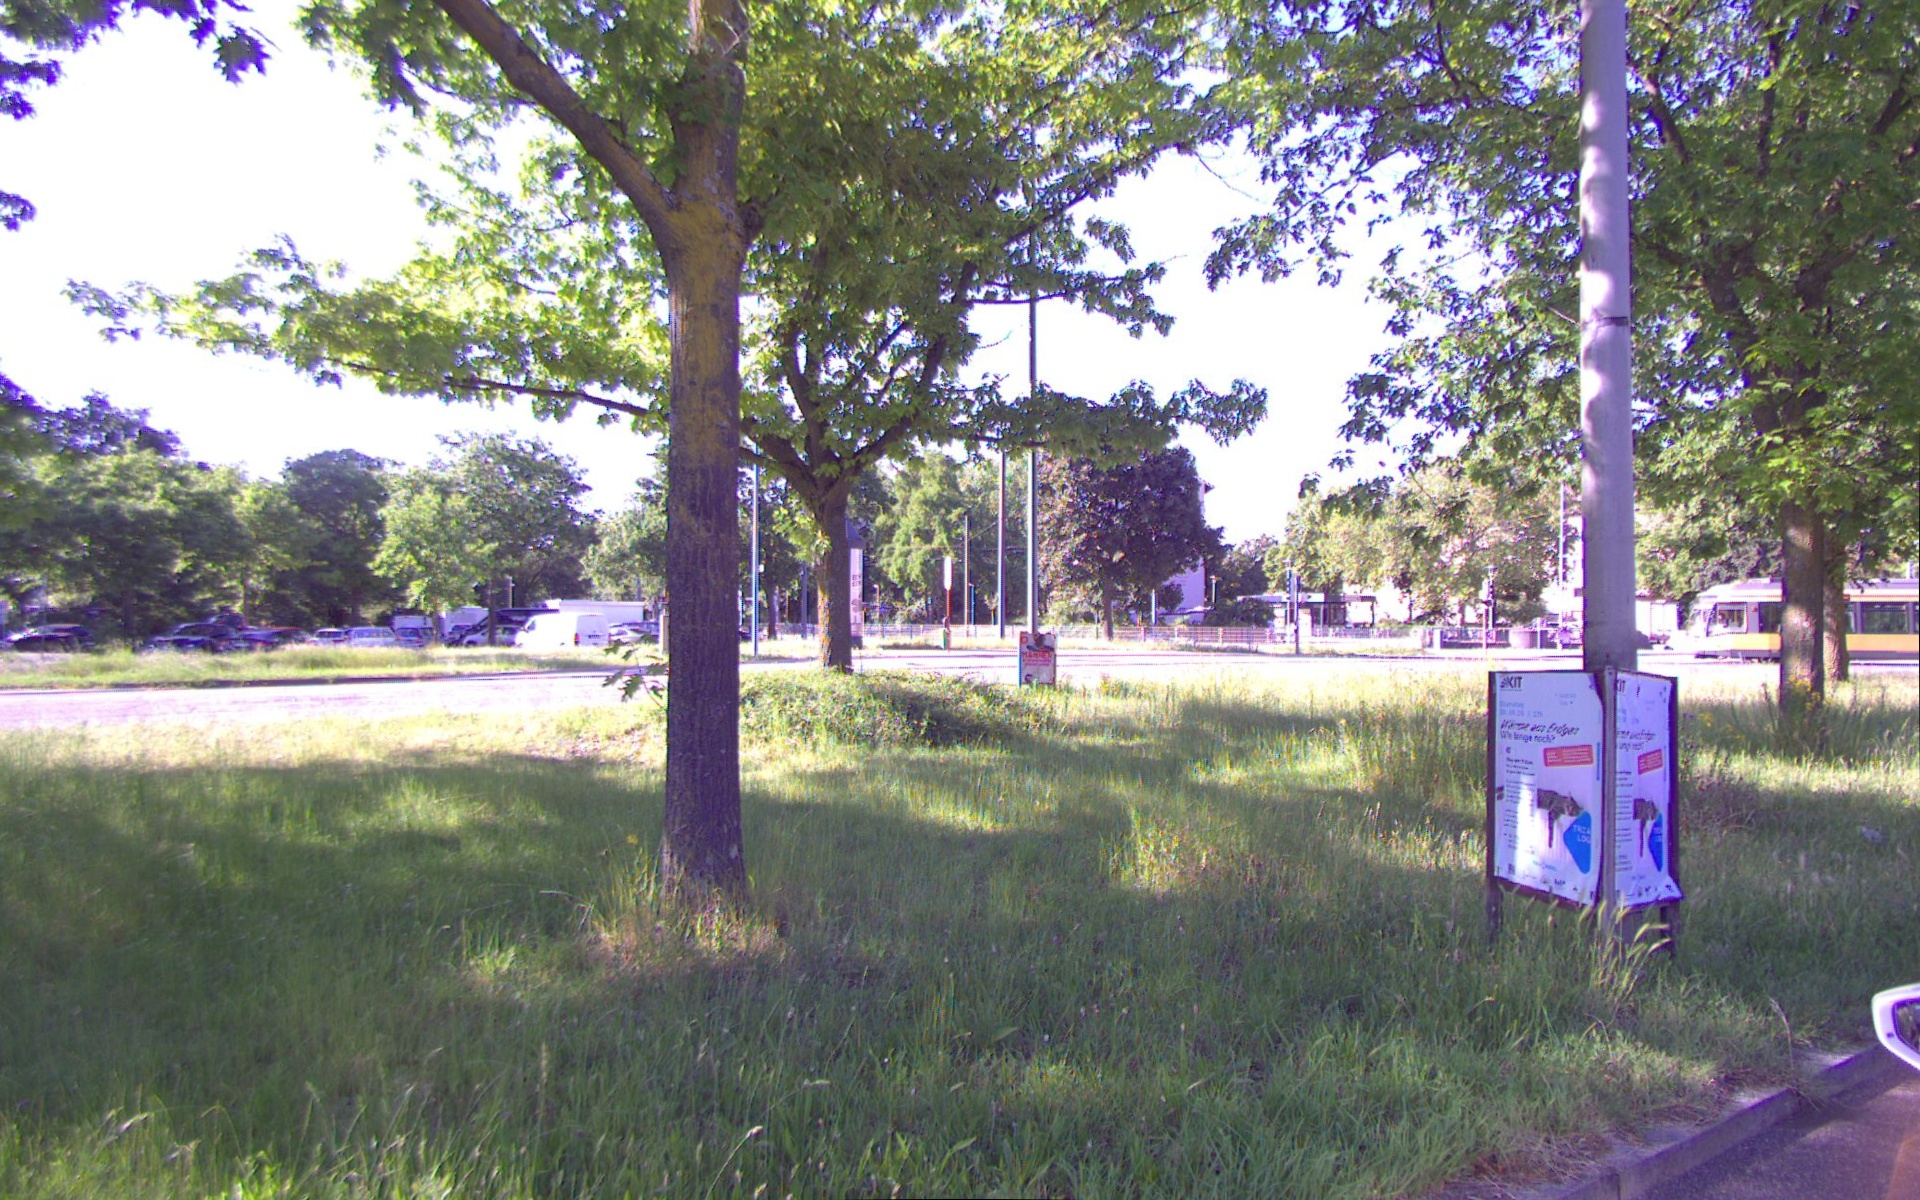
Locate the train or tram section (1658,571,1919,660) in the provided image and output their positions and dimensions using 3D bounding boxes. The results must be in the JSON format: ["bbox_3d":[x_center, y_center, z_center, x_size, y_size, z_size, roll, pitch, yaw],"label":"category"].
[{"bbox_3d":[40.090,0.643,41.149,18.990,3.559,3.308,0,-1,13],"label":"train or tram section"}]

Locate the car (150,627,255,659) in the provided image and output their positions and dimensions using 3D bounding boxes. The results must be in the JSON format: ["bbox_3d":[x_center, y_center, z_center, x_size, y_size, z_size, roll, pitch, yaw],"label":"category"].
[{"bbox_3d":[-26.840,1.497,35.633,1.315,1.078,2.777,0,-1,42],"label":"car"}]

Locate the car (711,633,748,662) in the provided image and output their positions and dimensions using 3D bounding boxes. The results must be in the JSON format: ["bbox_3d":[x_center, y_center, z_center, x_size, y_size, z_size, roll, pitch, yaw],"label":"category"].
[{"bbox_3d":[-12.027,2.448,52.491,1.589,1.438,3.073,0,-1,-8],"label":"car"}]

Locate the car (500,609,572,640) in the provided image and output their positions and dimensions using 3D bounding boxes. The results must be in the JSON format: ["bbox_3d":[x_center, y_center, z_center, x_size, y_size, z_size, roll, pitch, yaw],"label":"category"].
[{"bbox_3d":[-24.126,1.406,57.294,3.698,1.691,1.883,1,-1,-23],"label":"car"}]

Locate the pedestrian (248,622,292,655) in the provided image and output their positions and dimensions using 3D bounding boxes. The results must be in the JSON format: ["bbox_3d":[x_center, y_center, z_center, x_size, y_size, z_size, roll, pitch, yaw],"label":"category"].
[{"bbox_3d":[-27.873,1.560,40.582,1.130,1.292,1.105,0,-1,33],"label":"pedestrian"}]

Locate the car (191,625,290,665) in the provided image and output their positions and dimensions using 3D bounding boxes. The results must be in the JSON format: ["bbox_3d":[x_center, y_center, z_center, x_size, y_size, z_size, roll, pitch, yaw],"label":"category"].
[{"bbox_3d":[-25.230,1.556,35.248,2.769,1.323,1.326,1,-1,-40],"label":"car"}]

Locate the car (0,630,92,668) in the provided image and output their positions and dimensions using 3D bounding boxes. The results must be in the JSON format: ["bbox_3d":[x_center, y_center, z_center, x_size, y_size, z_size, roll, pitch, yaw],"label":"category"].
[{"bbox_3d":[-47.697,2.486,51.869,1.966,1.817,3.990,0,-1,32],"label":"car"}]

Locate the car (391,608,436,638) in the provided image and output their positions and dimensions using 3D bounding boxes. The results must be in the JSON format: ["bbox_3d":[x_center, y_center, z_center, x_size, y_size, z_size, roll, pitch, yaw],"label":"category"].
[{"bbox_3d":[-32.485,1.357,59.791,1.865,1.691,3.733,1,-1,-22],"label":"car"}]

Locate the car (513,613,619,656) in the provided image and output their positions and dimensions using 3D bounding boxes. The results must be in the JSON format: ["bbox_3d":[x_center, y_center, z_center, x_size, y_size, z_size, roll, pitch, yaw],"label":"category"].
[{"bbox_3d":[-17.215,1.468,43.805,4.670,1.762,2.024,0,-1,34],"label":"car"}]

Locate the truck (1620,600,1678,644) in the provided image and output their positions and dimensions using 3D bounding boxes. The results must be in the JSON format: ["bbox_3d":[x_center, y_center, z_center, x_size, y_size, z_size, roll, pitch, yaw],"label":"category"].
[{"bbox_3d":[46.645,1.477,68.091,1.960,2.842,4.002,0,-1,15],"label":"truck"}]

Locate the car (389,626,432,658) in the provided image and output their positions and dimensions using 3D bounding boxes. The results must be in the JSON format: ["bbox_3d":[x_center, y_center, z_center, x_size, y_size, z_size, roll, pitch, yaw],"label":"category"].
[{"bbox_3d":[-26.698,2.021,48.783,1.602,1.438,3.050,1,-1,-33],"label":"car"}]

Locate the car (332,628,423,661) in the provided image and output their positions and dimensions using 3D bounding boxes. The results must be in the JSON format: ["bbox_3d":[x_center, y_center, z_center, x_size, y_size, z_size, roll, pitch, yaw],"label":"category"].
[{"bbox_3d":[-21.823,1.627,37.638,2.769,1.171,1.326,1,-1,-40],"label":"car"}]

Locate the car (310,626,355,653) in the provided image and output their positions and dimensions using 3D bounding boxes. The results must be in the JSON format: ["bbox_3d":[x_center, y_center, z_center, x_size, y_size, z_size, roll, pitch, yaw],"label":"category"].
[{"bbox_3d":[-29.291,1.817,46.870,1.603,1.194,3.047,1,-1,-35],"label":"car"}]
